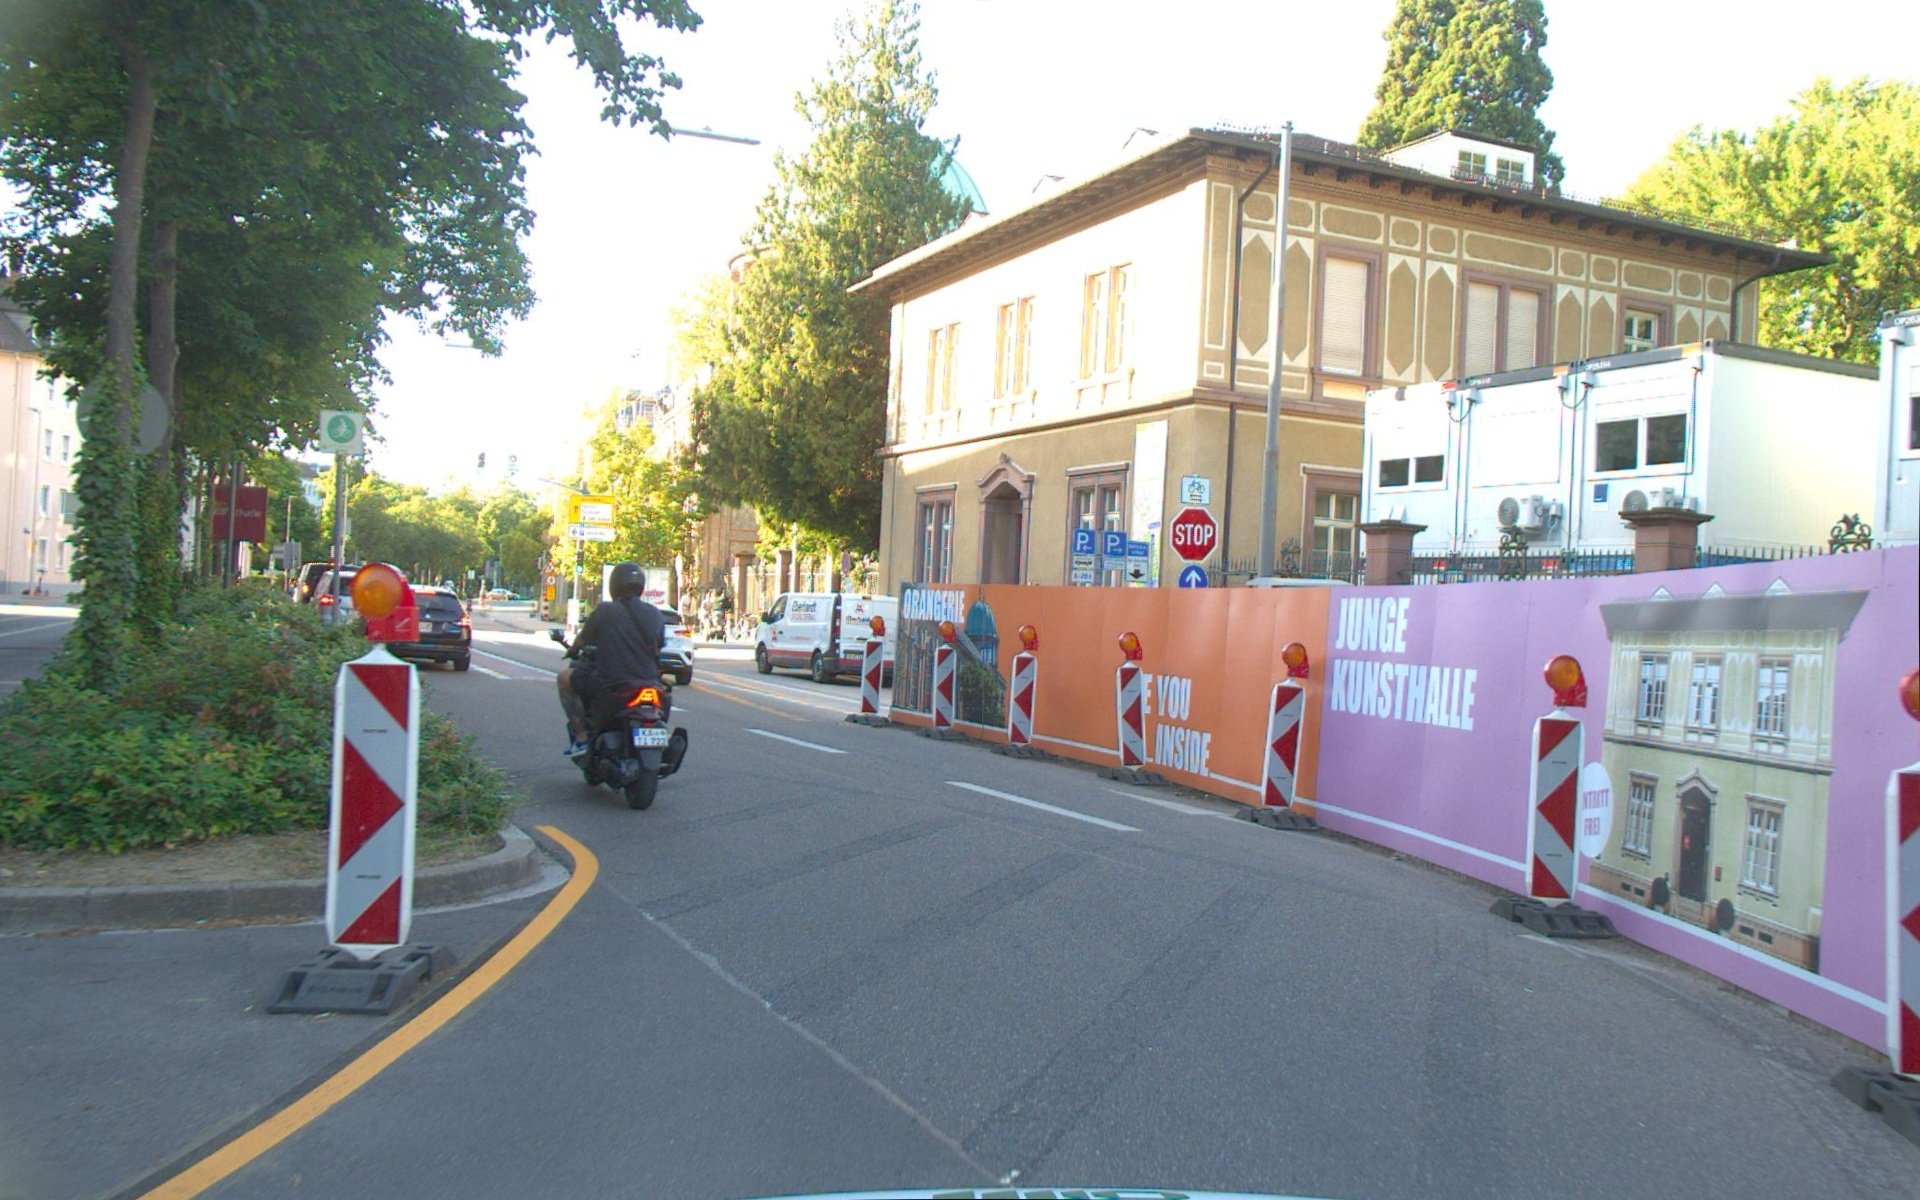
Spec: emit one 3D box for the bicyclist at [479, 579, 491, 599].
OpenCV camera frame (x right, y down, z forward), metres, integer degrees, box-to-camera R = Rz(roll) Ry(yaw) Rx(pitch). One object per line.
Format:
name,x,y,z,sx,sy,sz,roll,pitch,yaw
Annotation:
bicyclist,-37.722,-0.862,131.352,0.734,1.564,0.967,4,-1,-10

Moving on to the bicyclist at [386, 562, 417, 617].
bicyclist,-17.403,-0.329,51.533,0.791,1.636,0.820,3,-1,-21

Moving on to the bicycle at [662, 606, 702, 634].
bicycle,-10.925,0.781,65.045,1.446,1.057,0.476,3,0,-23

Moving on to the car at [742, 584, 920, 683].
car,-3.068,0.713,38.050,1.991,1.979,5.432,5,-2,-28

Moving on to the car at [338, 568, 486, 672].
car,-10.177,0.328,30.508,1.969,1.686,4.698,4,-1,-25

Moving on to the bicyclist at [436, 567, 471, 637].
bicyclist,-12.736,0.048,41.589,0.663,1.681,0.881,4,-1,-23

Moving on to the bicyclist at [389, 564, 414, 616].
bicyclist,-18.127,-0.318,53.645,0.660,1.636,0.820,3,-1,-21

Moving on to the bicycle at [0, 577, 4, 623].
bicycle,-25.561,-0.008,43.072,0.869,1.215,2.160,0,0,-23

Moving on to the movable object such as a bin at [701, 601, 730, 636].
movable object such as a bin,-8.459,0.633,57.218,0.702,1.137,1.043,1,1,-25

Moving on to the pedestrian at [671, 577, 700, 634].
pedestrian,-9.545,0.174,57.453,0.706,1.927,0.882,2,0,-26

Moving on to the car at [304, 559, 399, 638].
car,-15.348,-0.059,41.586,1.964,1.780,4.714,3,0,-23

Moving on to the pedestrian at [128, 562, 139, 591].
pedestrian,-48.639,-1.397,97.341,0.473,1.686,0.470,3,0,-18

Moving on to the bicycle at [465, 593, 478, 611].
bicycle,-29.898,0.135,101.270,0.633,1.042,2.201,5,-1,-18

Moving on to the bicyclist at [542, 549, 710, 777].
bicyclist,-2.486,0.447,12.216,0.856,1.549,1.222,6,-2,-23

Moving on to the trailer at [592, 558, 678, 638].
trailer,-11.044,-0.086,55.942,2.050,2.572,4.463,2,0,-22

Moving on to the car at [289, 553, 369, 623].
car,-19.715,-0.362,51.553,2.040,1.949,4.996,3,-1,-24

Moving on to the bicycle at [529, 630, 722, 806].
bicycle,-2.528,0.820,12.226,0.858,1.061,2.436,5,-1,-23

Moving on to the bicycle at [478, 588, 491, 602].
bicycle,-37.753,-0.394,131.313,0.739,1.044,1.864,5,-2,-10

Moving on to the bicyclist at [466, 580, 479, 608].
bicyclist,-29.809,-0.366,101.119,0.626,1.642,1.277,5,-1,-19

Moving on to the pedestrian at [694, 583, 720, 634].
pedestrian,-8.880,0.291,58.008,0.673,1.731,0.688,2,0,-24

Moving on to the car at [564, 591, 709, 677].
car,-6.373,0.622,32.295,1.966,1.478,3.972,3,-1,-23

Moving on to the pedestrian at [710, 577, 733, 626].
pedestrian,-8.811,0.049,61.168,0.630,1.799,0.733,3,-1,-20
